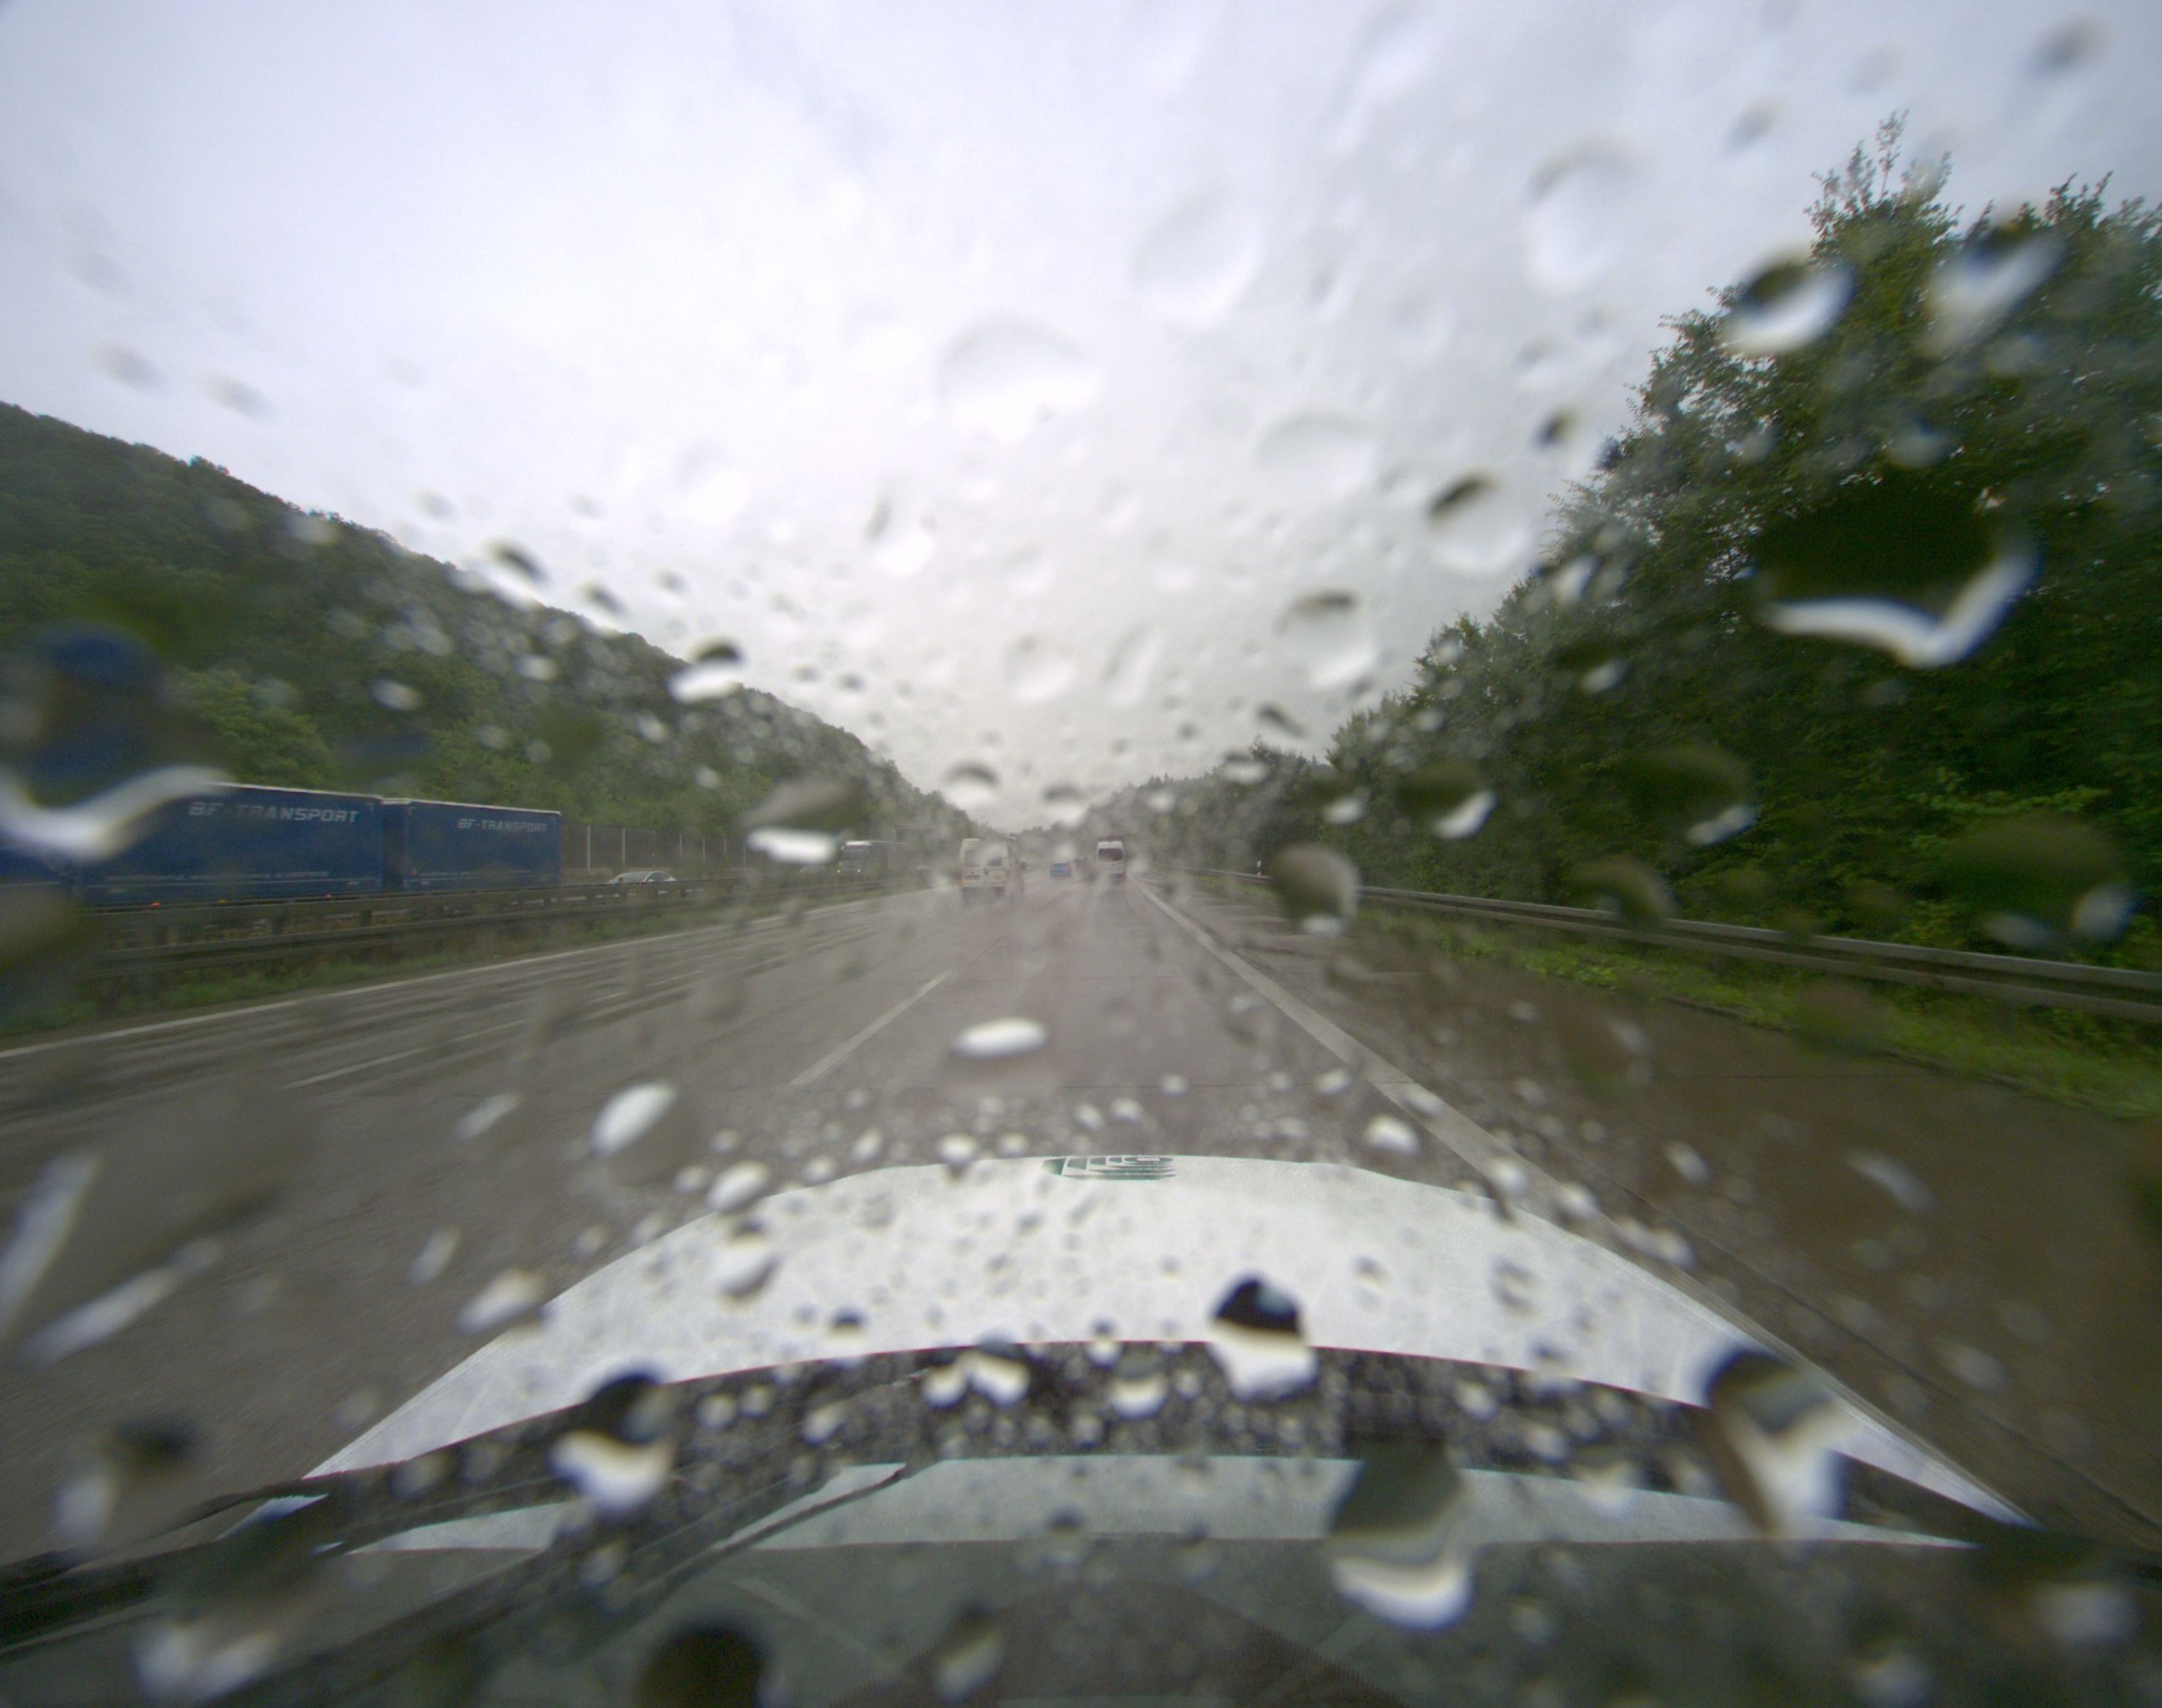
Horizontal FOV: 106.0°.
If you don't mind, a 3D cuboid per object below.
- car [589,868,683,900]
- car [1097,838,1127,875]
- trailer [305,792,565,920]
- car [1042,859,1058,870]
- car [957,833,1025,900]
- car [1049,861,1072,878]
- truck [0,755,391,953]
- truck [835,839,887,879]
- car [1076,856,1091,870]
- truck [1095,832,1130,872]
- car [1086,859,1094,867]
[{"bbox_3d":[-20.255,1.338,37.300,1.746,1.339,4.426,0,0,1],"label":"car"},{"bbox_3d":[2.016,0.189,54.126,1.893,2.334,5.251,0,0,1],"label":"car"},{"bbox_3d":[-23.739,0.075,30.804,2.838,4.154,8.527,0,0,1],"label":"trailer"},{"bbox_3d":[-3.870,1.322,102.834,1.851,1.339,4.349,0,0,-1],"label":"car"},{"bbox_3d":[-3.526,0.474,32.878,1.991,2.432,5.791,0,0,1],"label":"car"},{"bbox_3d":[-1.692,1.291,68.654,1.851,1.339,4.349,0,0,-1],"label":"car"},{"bbox_3d":[-23.996,0.013,21.384,2.838,4.154,10.181,0,0,1],"label":"truck"},{"bbox_3d":[-22.013,0.477,81.933,2.764,3.801,7.685,0,0,2],"label":"truck"},{"bbox_3d":[0.284,1.178,105.274,1.862,1.810,4.189,0,0,1],"label":"car"},{"bbox_3d":[3.260,-0.329,84.850,3.372,3.968,8.671,-1,2,2],"label":"truck"},{"bbox_3d":[1.686,1.662,152.437,1.608,1.628,4.189,0,0,1],"label":"car"}]
